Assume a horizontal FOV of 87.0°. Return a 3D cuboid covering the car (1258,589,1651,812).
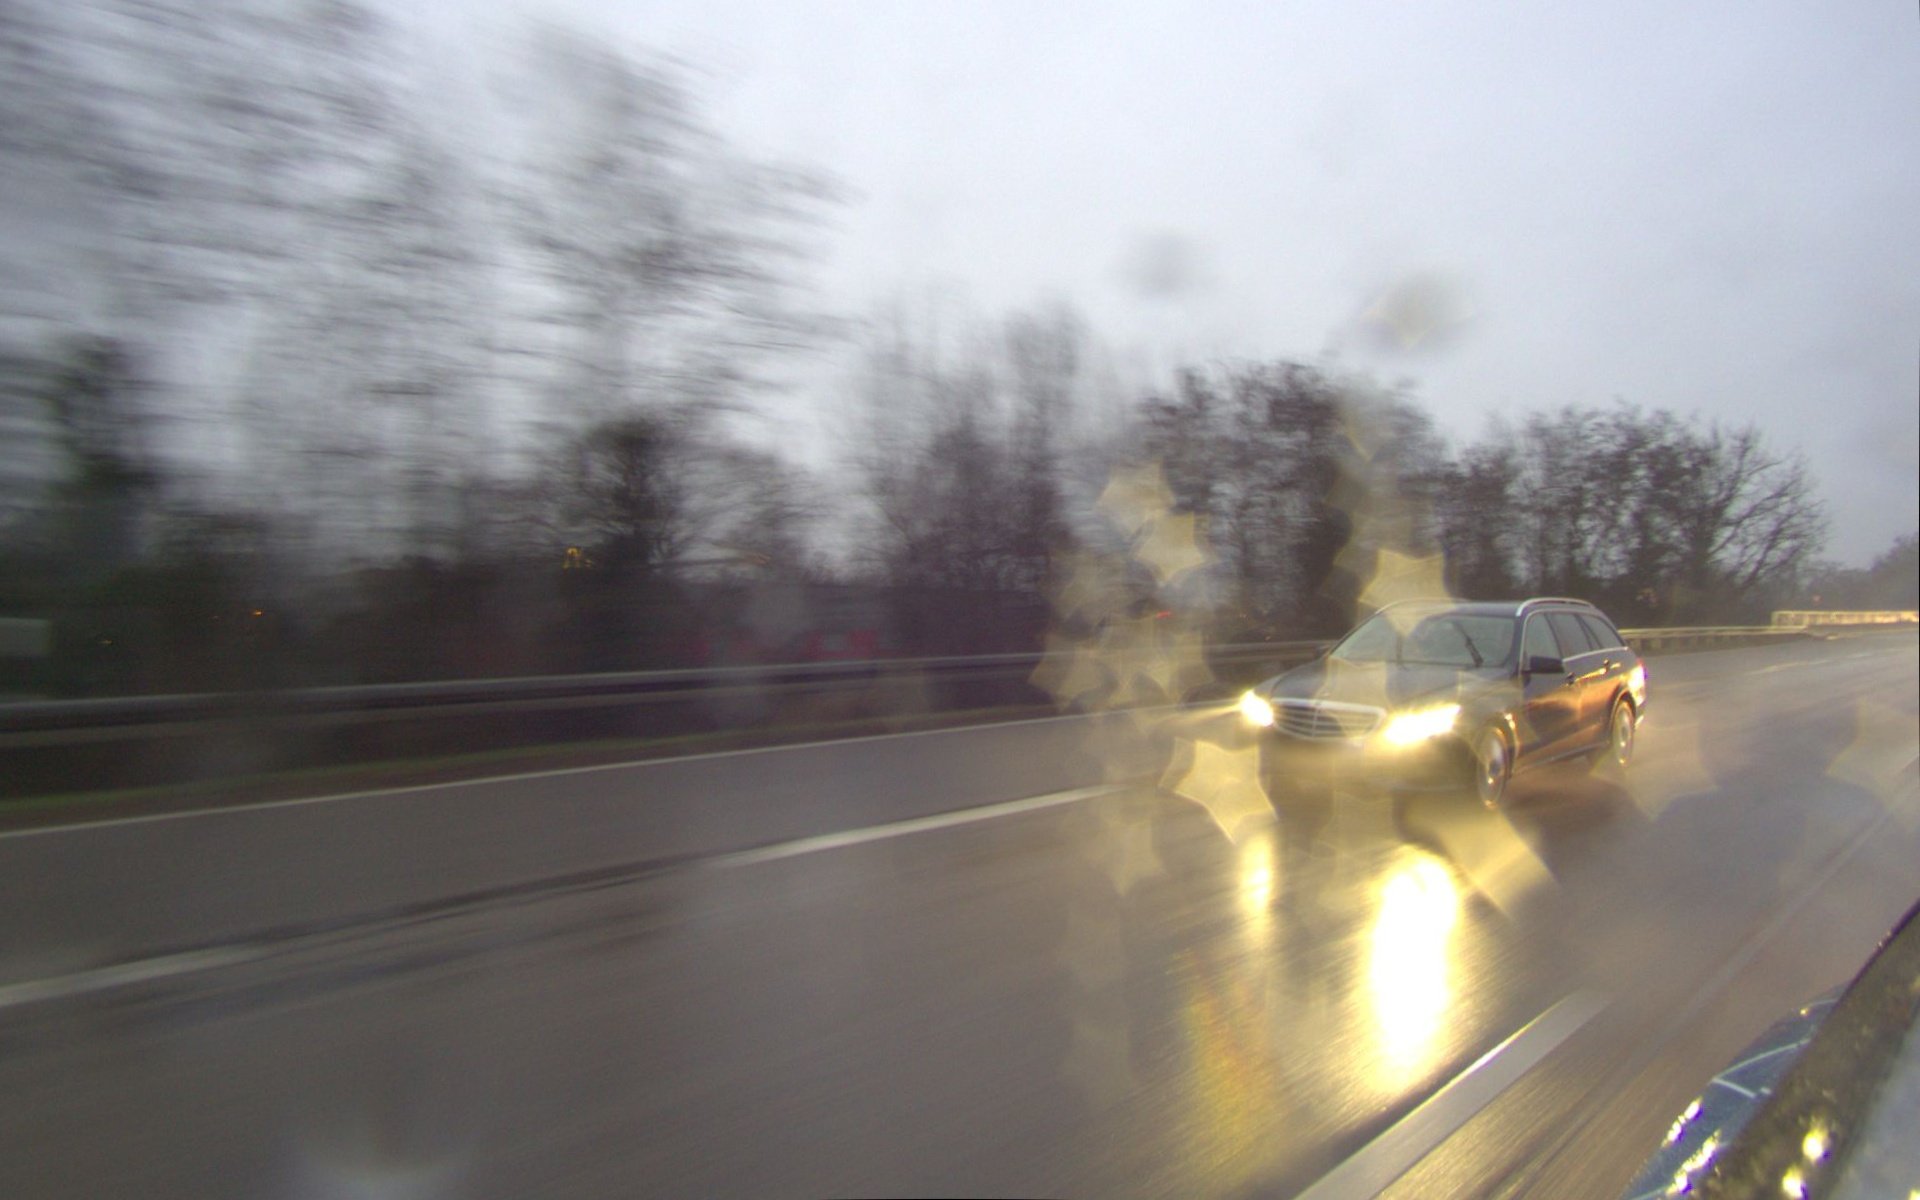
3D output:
[{"bbox_3d":[4.376,0.662,8.659,4.104,1.472,1.593,0,0,-42],"label":"car"}]
